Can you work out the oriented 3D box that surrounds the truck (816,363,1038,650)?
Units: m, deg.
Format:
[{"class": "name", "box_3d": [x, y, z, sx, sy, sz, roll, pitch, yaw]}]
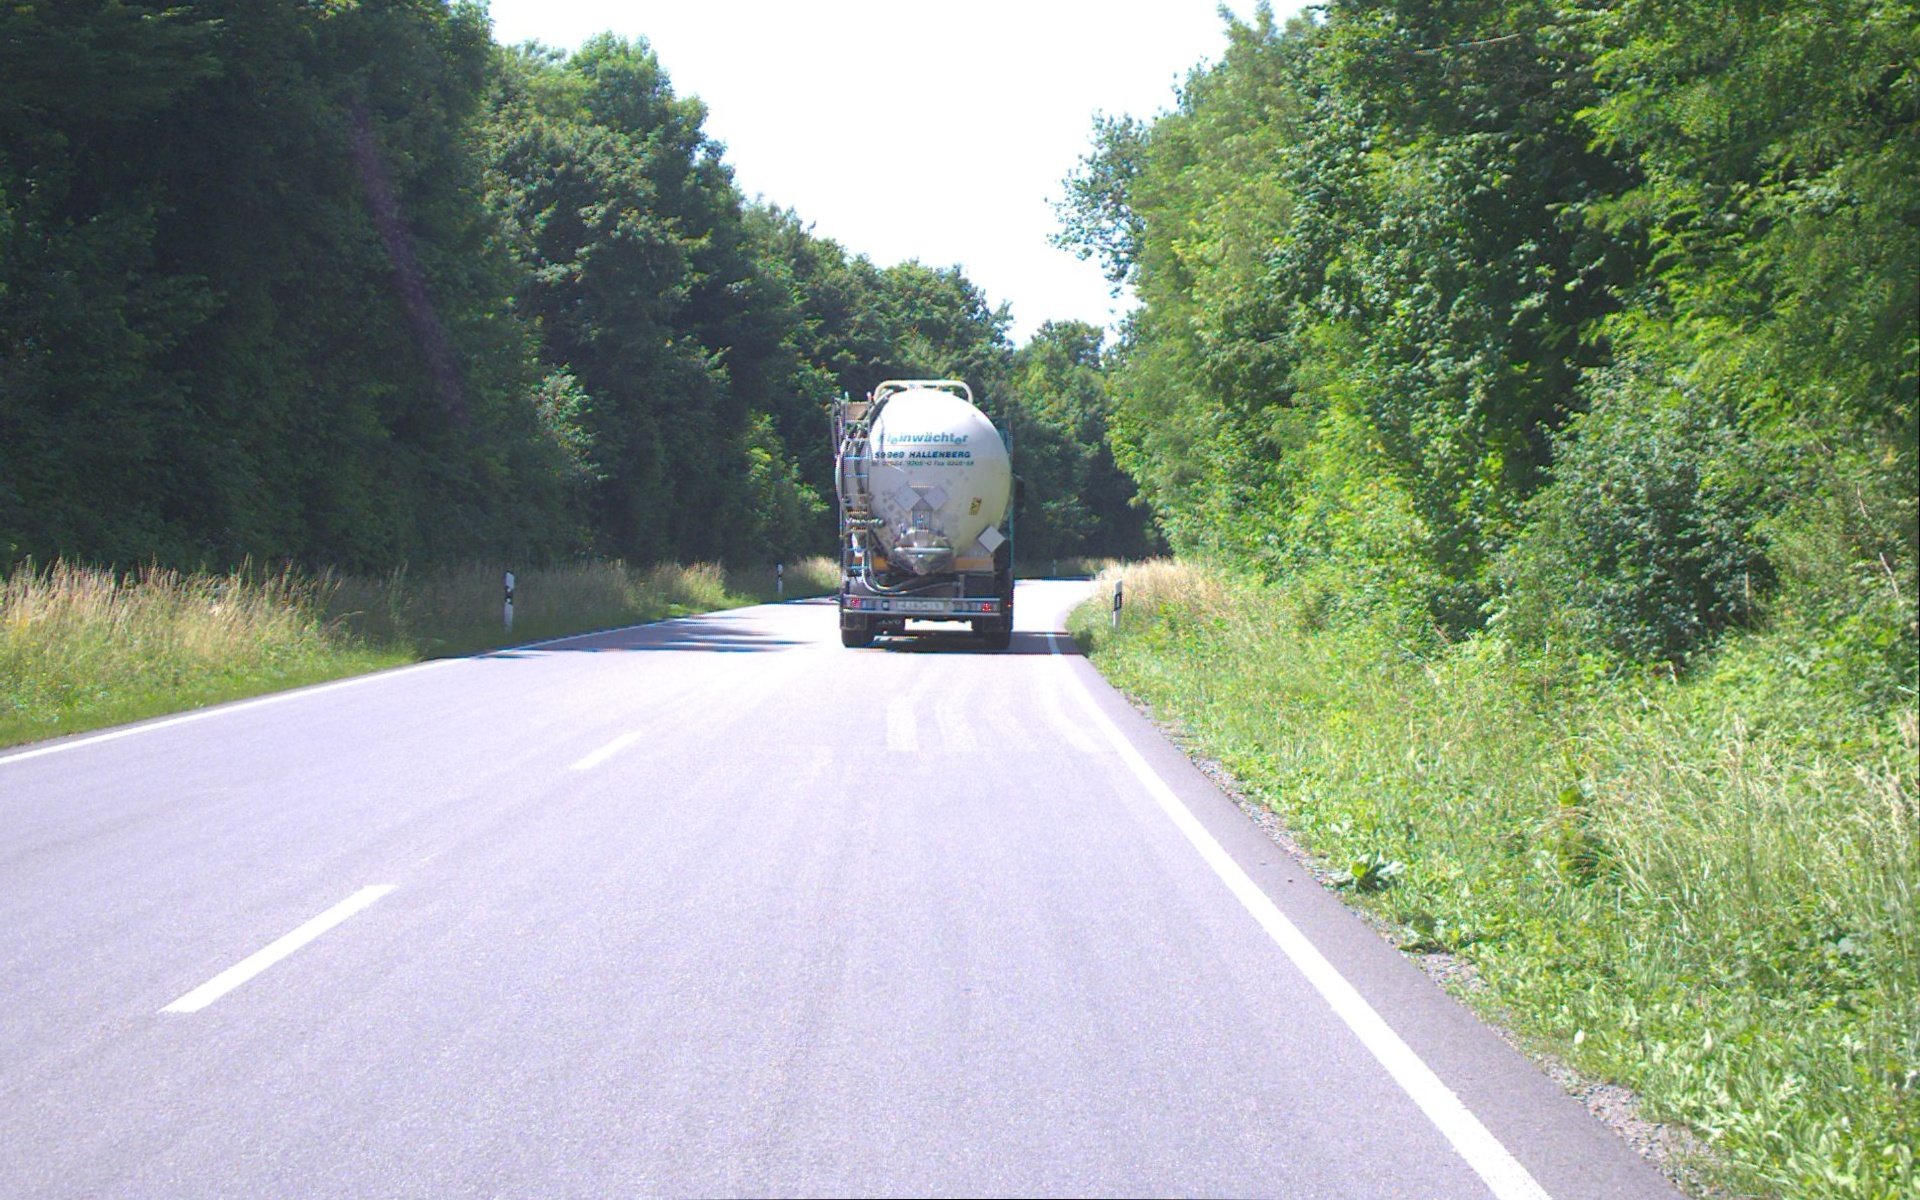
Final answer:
[{"class": "truck", "box_3d": [-0.579, -1.444, 56.416, 3.049, 3.984, 15.637, 1, 1, -1]}]
